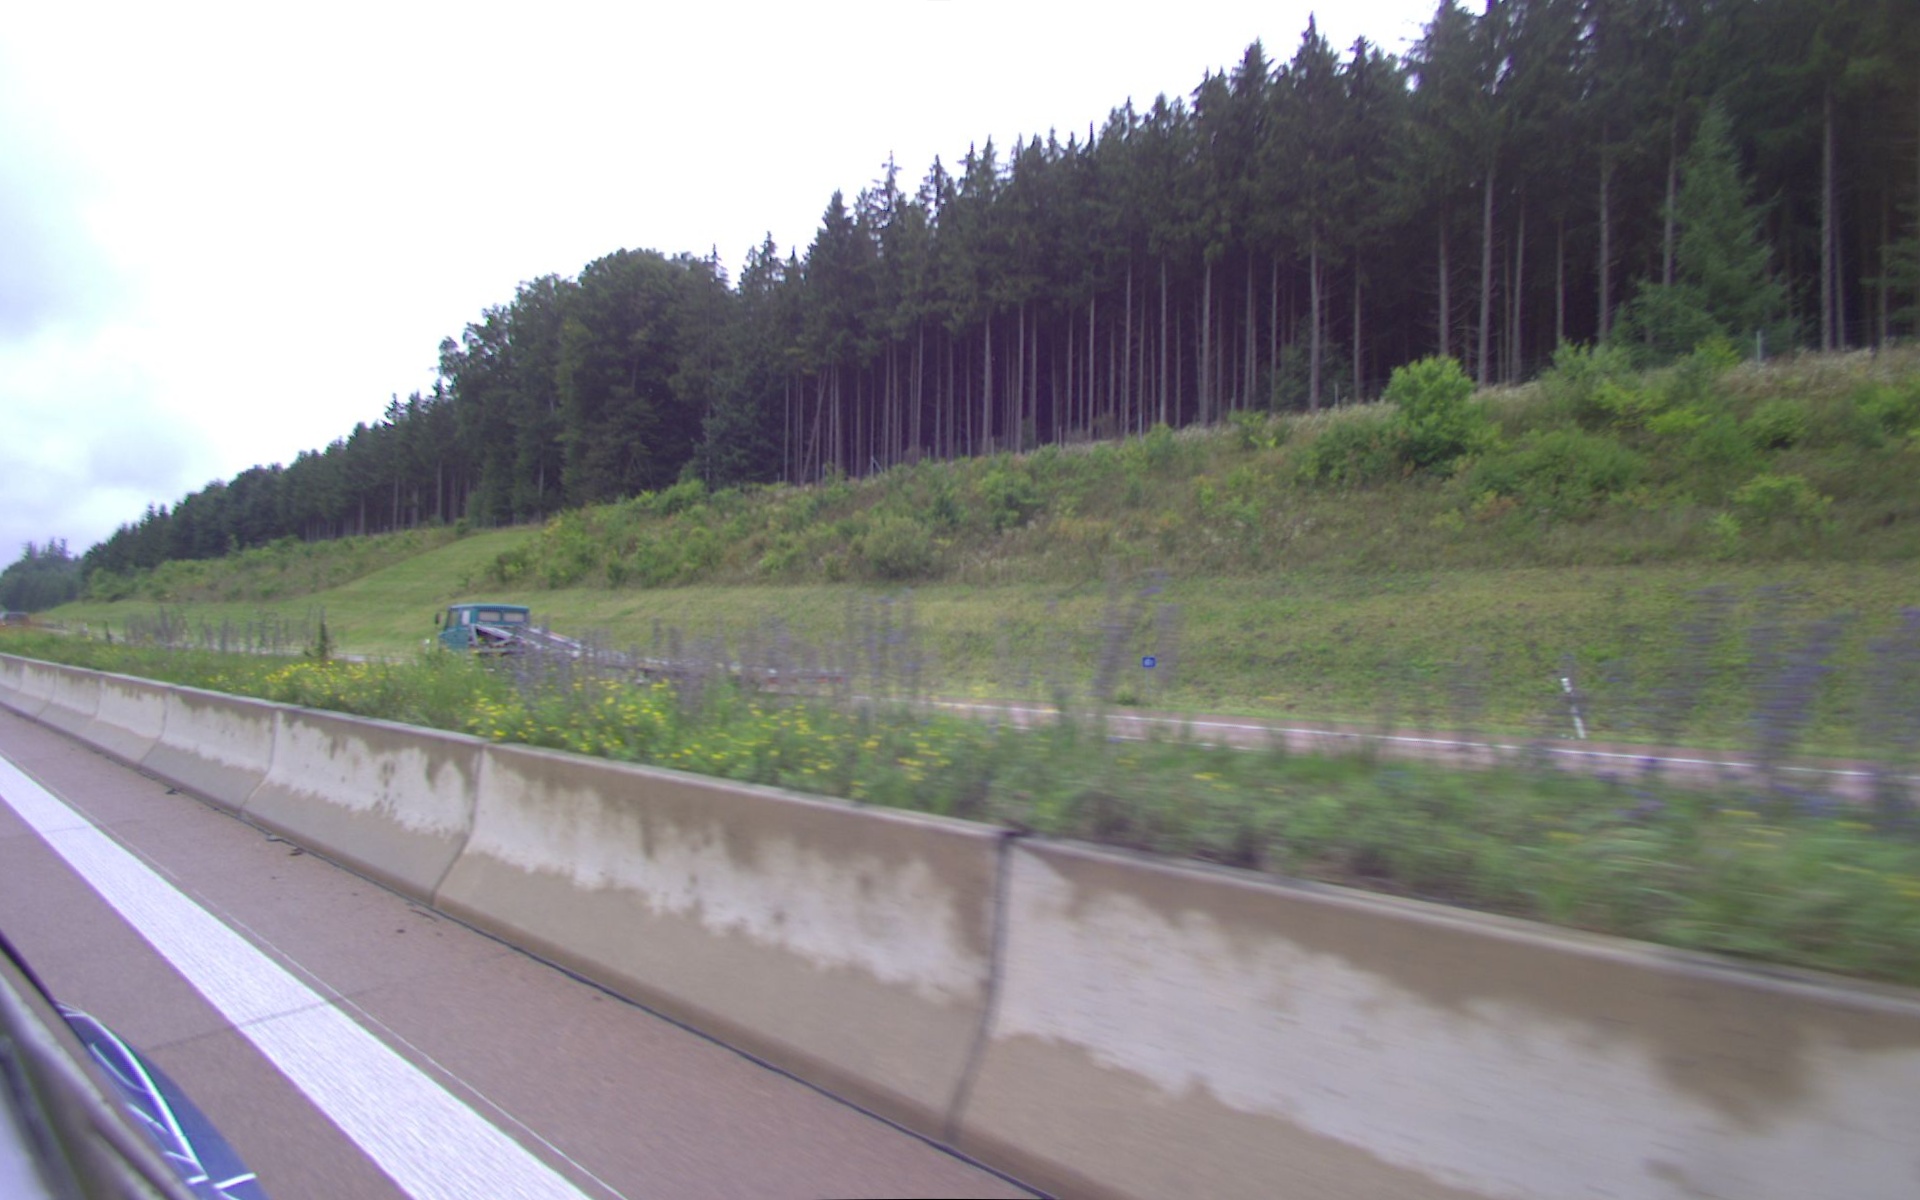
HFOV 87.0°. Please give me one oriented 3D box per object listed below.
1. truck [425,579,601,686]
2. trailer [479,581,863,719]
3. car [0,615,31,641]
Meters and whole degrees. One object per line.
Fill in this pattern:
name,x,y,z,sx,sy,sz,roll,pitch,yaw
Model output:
truck,-14.817,0.955,33.339,6.492,3.196,2.834,0,1,41
trailer,-8.675,1.058,27.941,14.429,3.020,2.809,0,1,41
car,-79.286,2.331,84.421,5.068,2.073,2.017,0,-2,41
